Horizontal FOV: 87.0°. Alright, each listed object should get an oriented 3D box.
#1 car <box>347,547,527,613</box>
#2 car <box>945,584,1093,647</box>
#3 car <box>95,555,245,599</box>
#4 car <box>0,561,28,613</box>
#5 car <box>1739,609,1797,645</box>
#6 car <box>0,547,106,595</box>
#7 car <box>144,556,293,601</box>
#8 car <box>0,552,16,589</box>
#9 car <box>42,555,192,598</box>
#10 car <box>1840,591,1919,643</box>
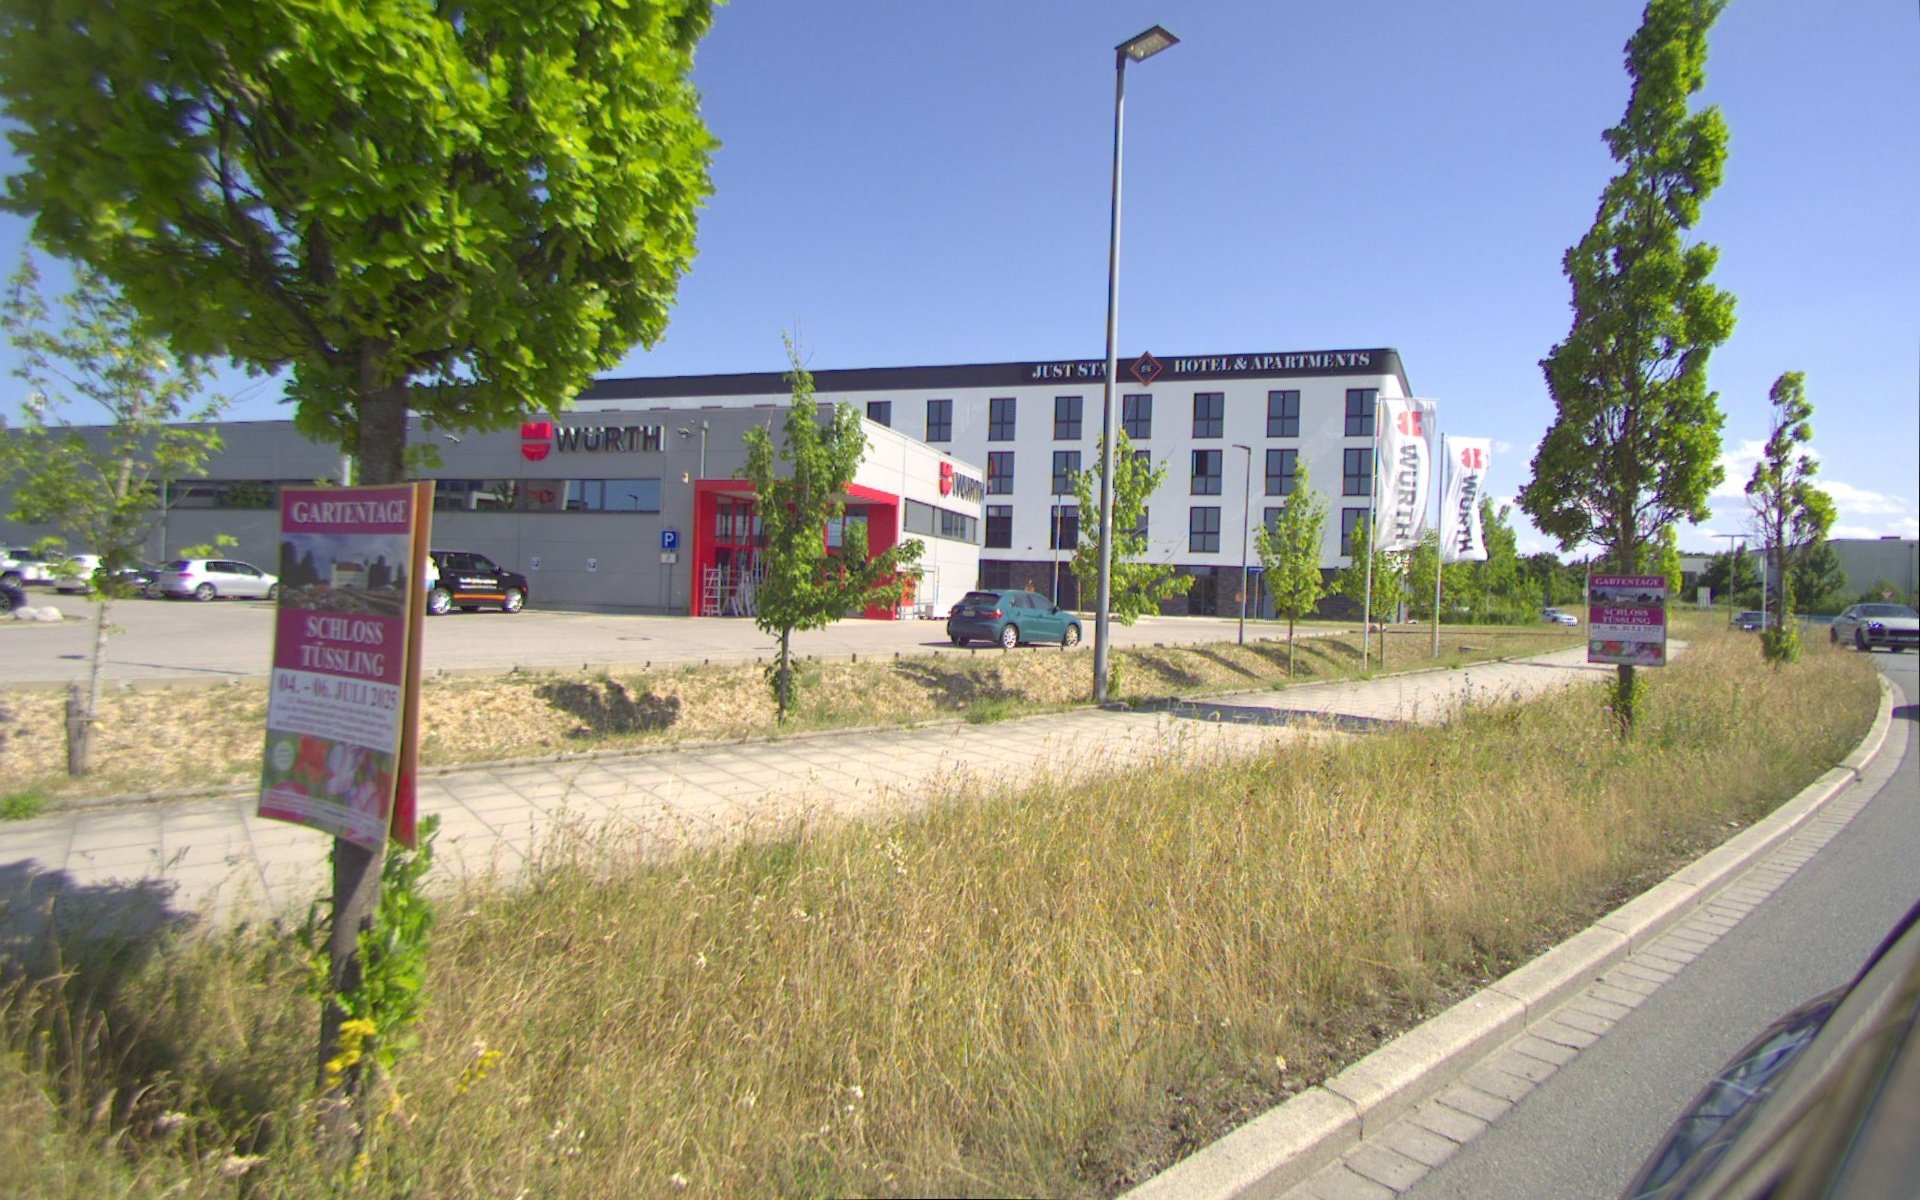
[{"bbox_3d":[-15.973,-0.594,31.254,2.023,1.838,4.894,2,1,19],"label":"car"},{"bbox_3d":[1.543,0.367,25.226,1.513,1.425,3.938,2,1,42],"label":"car"},{"bbox_3d":[-28.601,-0.807,36.788,1.679,1.480,4.086,1,1,17],"label":"car"},{"bbox_3d":[-23.877,-0.319,22.713,1.631,1.227,4.114,1,1,16],"label":"car"},{"bbox_3d":[41.581,1.350,52.154,1.744,1.709,4.331,2,1,32],"label":"car"},{"bbox_3d":[-35.781,-1.098,39.022,1.679,1.779,4.086,1,1,17],"label":"car"},{"bbox_3d":[-26.255,-0.760,35.991,1.679,1.480,4.086,1,1,17],"label":"car"},{"bbox_3d":[-40.396,-1.212,40.114,1.679,1.480,4.086,1,1,17],"label":"car"},{"bbox_3d":[-31.387,-0.864,37.830,1.679,1.480,4.086,1,1,17],"label":"car"},{"bbox_3d":[32.421,0.611,35.045,2.099,1.664,4.724,1,-1,31],"label":"car"}]
